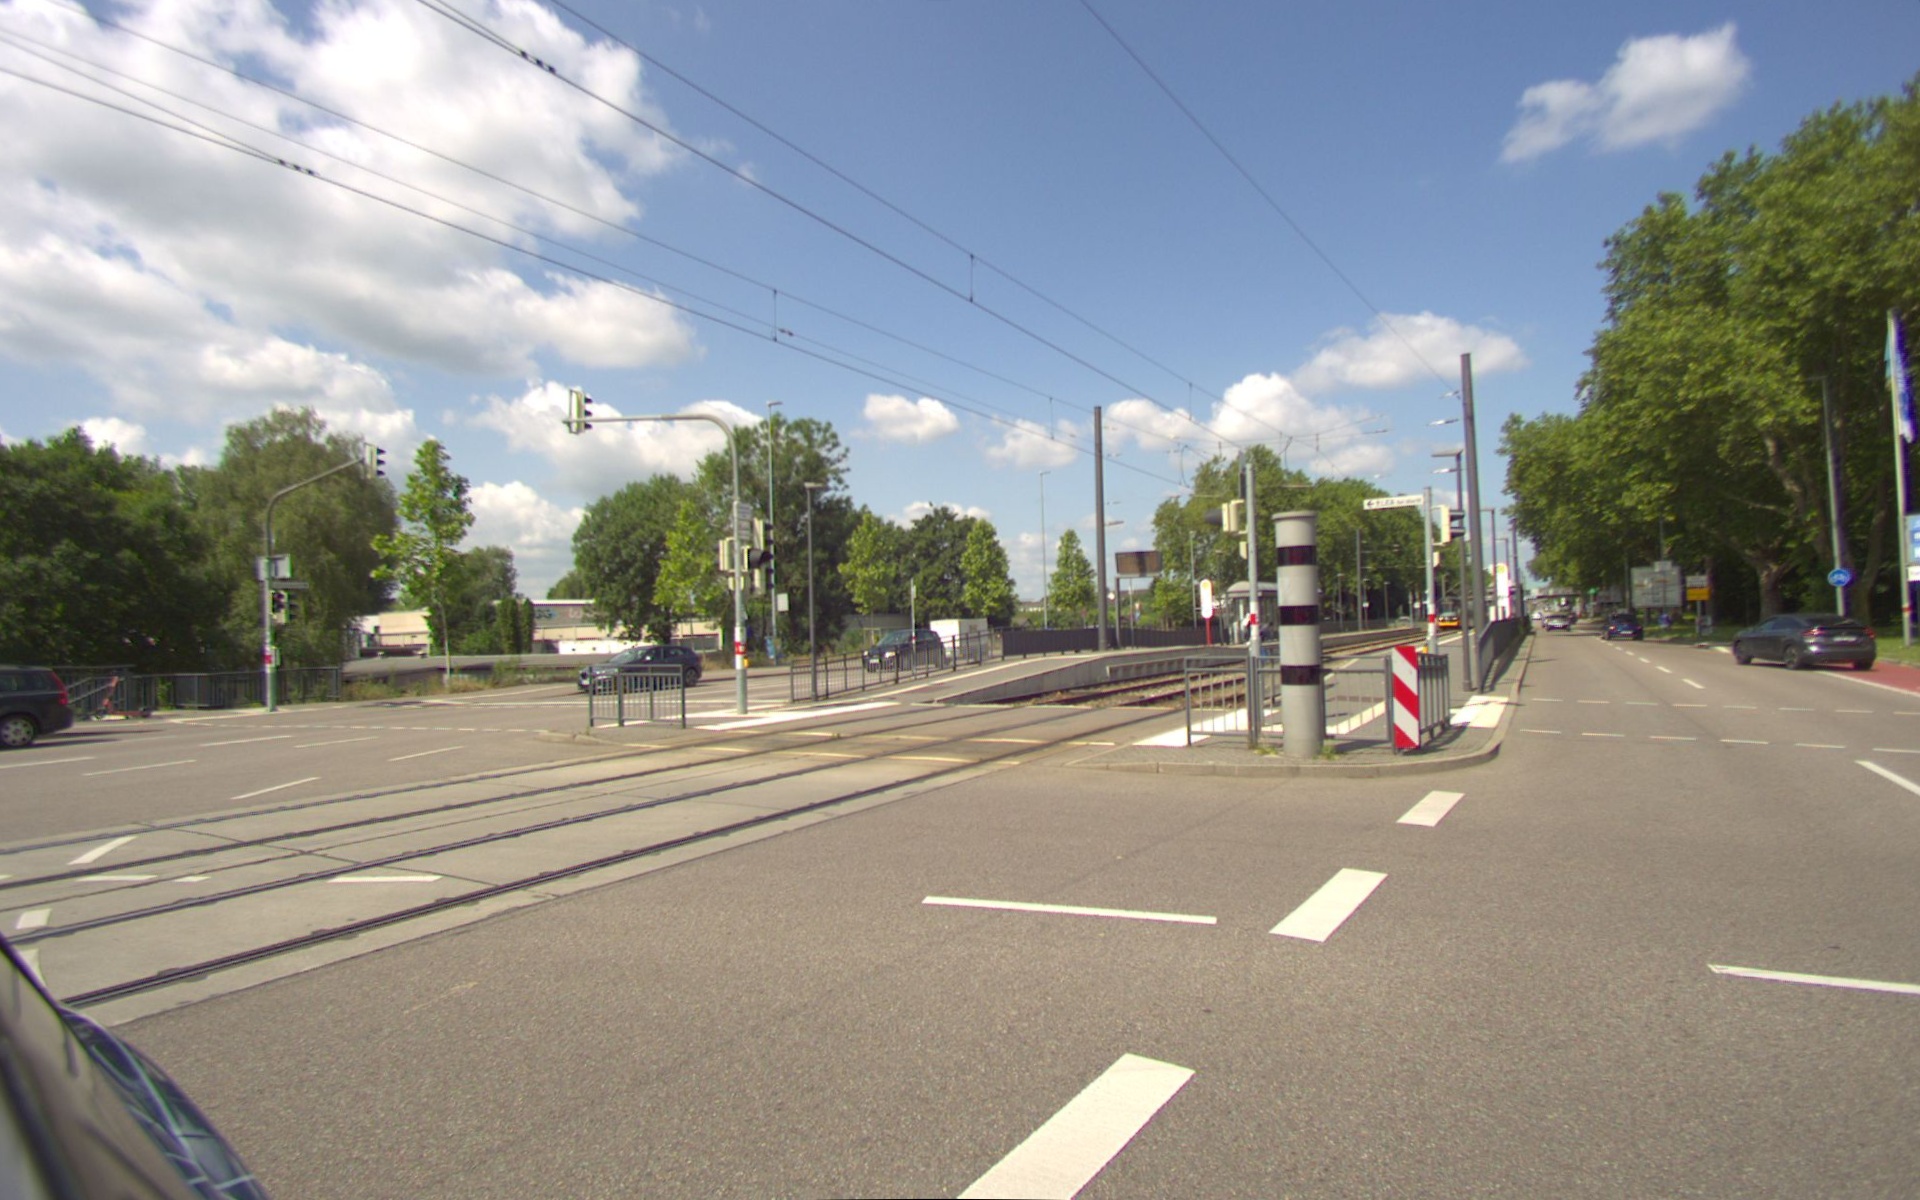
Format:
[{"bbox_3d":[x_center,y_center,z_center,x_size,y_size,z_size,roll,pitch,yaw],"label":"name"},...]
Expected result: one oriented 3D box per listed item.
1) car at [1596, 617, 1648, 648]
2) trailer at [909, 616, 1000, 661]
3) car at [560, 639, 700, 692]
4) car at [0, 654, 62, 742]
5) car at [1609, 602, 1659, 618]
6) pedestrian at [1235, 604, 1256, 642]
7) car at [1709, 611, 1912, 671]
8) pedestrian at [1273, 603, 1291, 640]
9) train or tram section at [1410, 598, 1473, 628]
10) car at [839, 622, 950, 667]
[{"bbox_3d":[36.481,1.753,55.825,1.991,1.608,3.962,-2,-1,28],"label":"car"},{"bbox_3d":[-0.153,1.622,43.888,1.816,1.845,5.135,-2,-1,27],"label":"trailer"},{"bbox_3d":[-10.442,2.049,32.255,1.725,1.458,4.023,-4,-2,34],"label":"car"},{"bbox_3d":[-18.513,1.784,17.040,1.959,1.520,4.733,-3,-2,30],"label":"car"},{"bbox_3d":[71.101,1.069,106.803,3.969,1.475,1.987,-2,-1,19],"label":"car"},{"bbox_3d":[12.935,1.048,45.846,0.758,1.722,0.785,-2,-2,27],"label":"pedestrian"},{"bbox_3d":[22.902,1.052,27.509,1.996,1.388,4.247,-3,0,3],"label":"car"},{"bbox_3d":[16.635,1.104,52.259,0.757,1.867,0.786,-2,-2,24],"label":"pedestrian"},{"bbox_3d":[56.718,1.598,118.653,4.513,3.055,24.868,-2,-2,30],"label":"train or tram section"},{"bbox_3d":[-2.433,1.678,39.210,1.990,1.586,5.205,-1,-1,26],"label":"car"}]
